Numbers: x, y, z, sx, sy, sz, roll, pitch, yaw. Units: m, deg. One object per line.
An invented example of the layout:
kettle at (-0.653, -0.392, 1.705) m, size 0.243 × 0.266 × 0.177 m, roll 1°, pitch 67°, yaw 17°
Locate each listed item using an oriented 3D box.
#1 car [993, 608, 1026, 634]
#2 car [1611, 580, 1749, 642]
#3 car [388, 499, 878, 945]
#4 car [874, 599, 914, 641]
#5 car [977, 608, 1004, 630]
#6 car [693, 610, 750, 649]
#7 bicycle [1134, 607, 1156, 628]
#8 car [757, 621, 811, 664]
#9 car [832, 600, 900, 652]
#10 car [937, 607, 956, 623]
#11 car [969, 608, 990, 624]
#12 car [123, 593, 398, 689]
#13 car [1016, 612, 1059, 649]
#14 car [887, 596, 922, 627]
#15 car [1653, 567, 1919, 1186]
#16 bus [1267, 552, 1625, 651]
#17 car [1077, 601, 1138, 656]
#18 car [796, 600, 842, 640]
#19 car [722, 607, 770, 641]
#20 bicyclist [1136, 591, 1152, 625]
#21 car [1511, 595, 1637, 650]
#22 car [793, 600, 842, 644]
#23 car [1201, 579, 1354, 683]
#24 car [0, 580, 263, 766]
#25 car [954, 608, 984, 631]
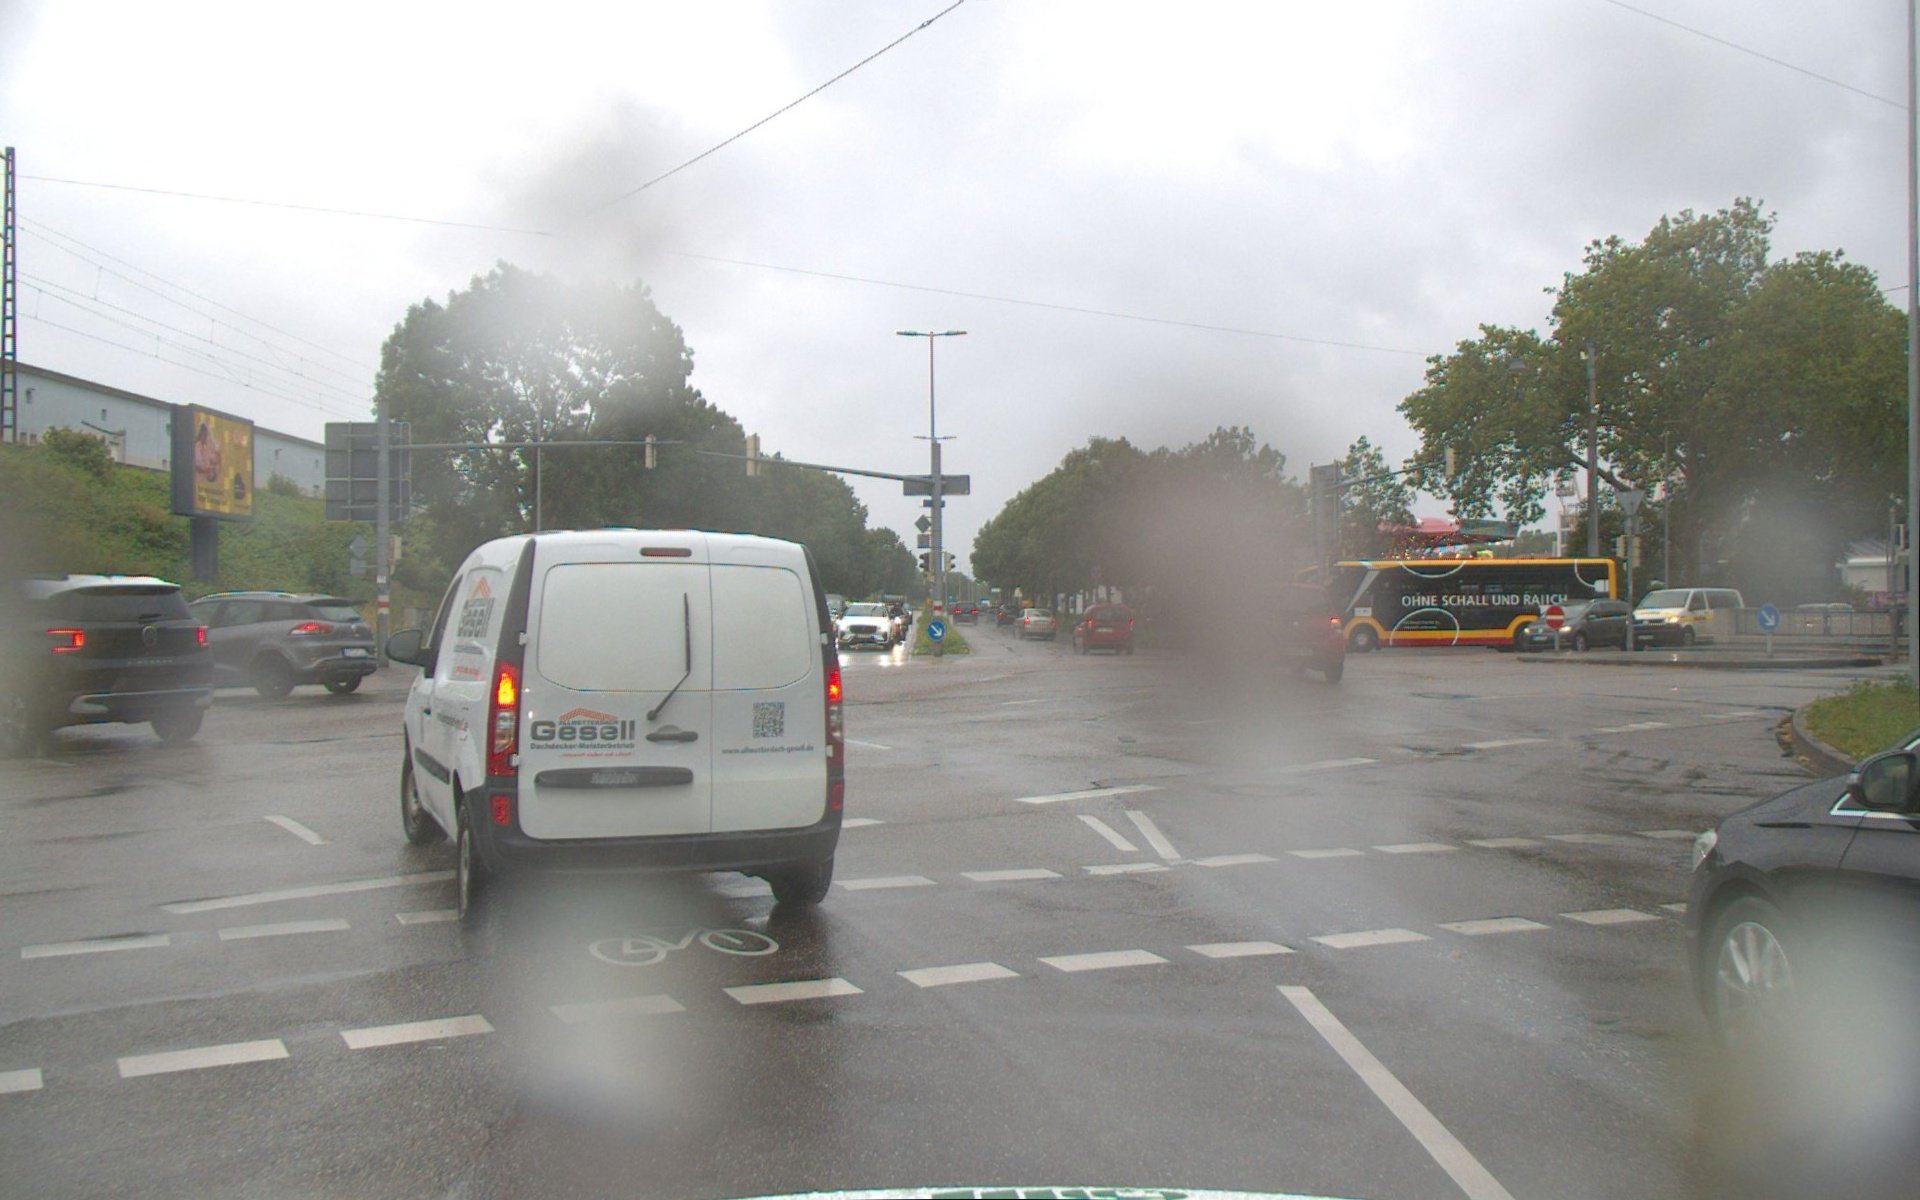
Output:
car at (3.323, 1.409, 112.028) m, size 1.956 × 1.646 × 3.998 m, roll -1°, pitch 0°, yaw -2°
car at (22.985, 0.319, 52.731) m, size 4.698 × 1.881 × 2.050 m, roll -1°, pitch 0°, yaw -38°
car at (-1.974, 0.497, 8.903) m, size 1.733 × 1.808 × 3.970 m, roll 2°, pitch 0°, yaw -24°
car at (-2.847, 0.828, 70.883) m, size 1.568 × 1.750 × 3.997 m, roll -1°, pitch 0°, yaw -4°
car at (2.364, 1.448, 129.585) m, size 1.956 × 1.646 × 3.998 m, roll -1°, pitch 0°, yaw -2°
car at (-9.096, 1.094, 63.441) m, size 1.790 × 1.382 × 3.998 m, roll -1°, pitch 0°, yaw -3°
bicycle at (10.596, 1.006, 94.891) m, size 0.803 × 1.185 × 2.258 m, roll -1°, pitch 0°, yaw -4°
car at (-6.165, 1.455, 57.608) m, size 1.792 × 1.382 × 3.994 m, roll -1°, pitch 0°, yaw -7°
car at (-3.334, 0.901, 59.470) m, size 2.125 × 1.750 × 4.303 m, roll -1°, pitch 0°, yaw 1°
car at (-1.455, 1.556, 177.535) m, size 1.956 × 1.646 × 3.998 m, roll -1°, pitch 0°, yaw -2°
car at (1.982, 1.636, 171.677) m, size 1.956 × 1.646 × 3.998 m, roll -1°, pitch 0°, yaw -2°
car at (-9.939, 0.569, 23.624) m, size 3.178 × 1.306 × 1.687 m, roll -1°, pitch 0°, yaw 6°
car at (3.661, 1.422, 78.820) m, size 1.805 × 1.646 × 4.000 m, roll 1°, pitch 0°, yaw 0°
car at (-3.297, 0.640, 96.912) m, size 1.900 × 1.750 × 3.997 m, roll -1°, pitch 0°, yaw -4°
car at (3.320, 0.684, 3.647) m, size 1.832 × 1.550 × 4.086 m, roll -1°, pitch 0°, yaw -1°
bus at (17.468, 0.054, 59.944) m, size 12.003 × 3.325 × 3.273 m, roll -1°, pitch 0°, yaw -2°
car at (4.822, 0.910, 54.412) m, size 1.599 × 1.684 × 3.483 m, roll 1°, pitch 0°, yaw -1°
car at (-6.372, 0.880, 74.897) m, size 1.807 × 1.750 × 3.999 m, roll -1°, pitch 0°, yaw -1°
car at (-9.153, 1.010, 70.996) m, size 1.791 × 1.382 × 3.997 m, roll -1°, pitch 0°, yaw -4°
bicyclist at (10.581, 0.450, 94.946) m, size 0.752 × 1.914 × 0.621 m, roll -1°, pitch 0°, yaw -5°
car at (20.005, 0.702, 53.847) m, size 4.298 × 1.680 × 1.907 m, roll -1°, pitch 0°, yaw -39°
car at (-5.884, 0.890, 68.594) m, size 1.827 × 1.750 × 3.998 m, roll -1°, pitch 0°, yaw -3°
car at (4.947, 0.458, 26.172) m, size 1.645 × 1.517 × 3.620 m, roll 1°, pitch 0°, yaw -1°
car at (-9.003, 0.645, 16.343) m, size 3.912 × 1.637 × 1.920 m, roll 0°, pitch 0°, yaw 30°
car at (0.632, 1.386, 118.918) m, size 1.956 × 1.646 × 3.998 m, roll -1°, pitch 0°, yaw -2°
